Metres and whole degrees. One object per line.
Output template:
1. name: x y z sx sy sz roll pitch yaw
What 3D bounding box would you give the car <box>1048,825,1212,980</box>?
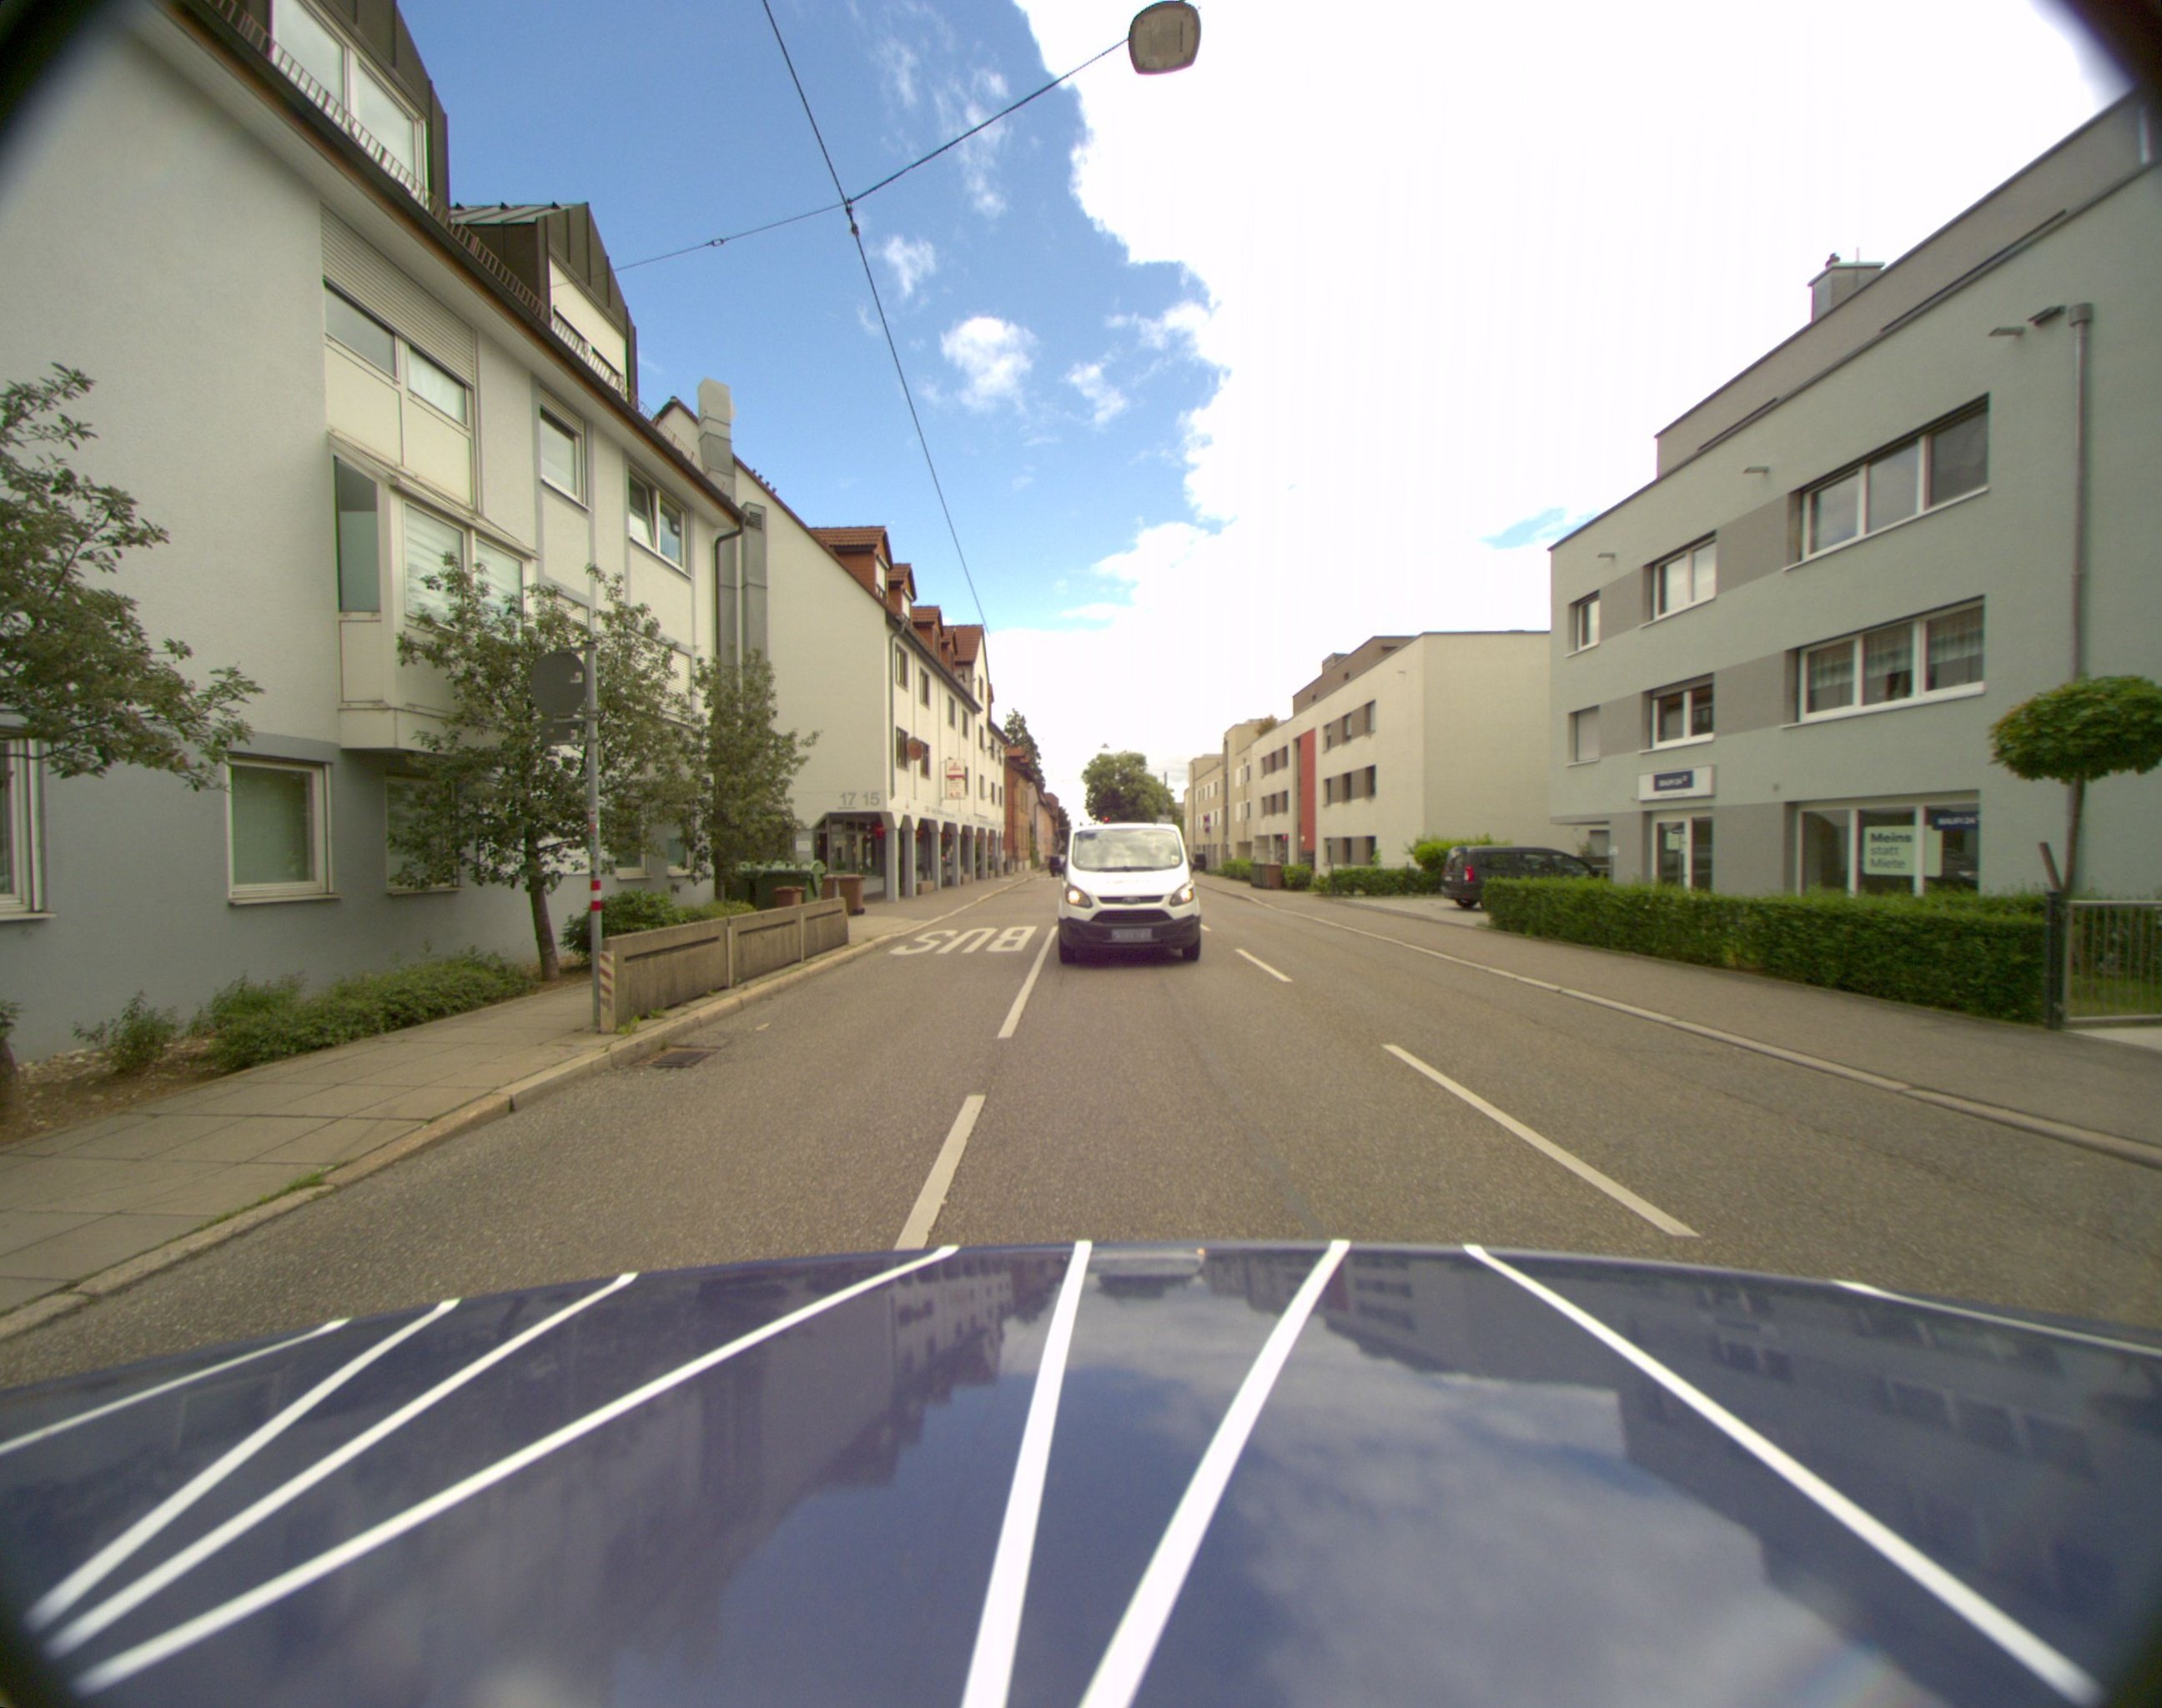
1. car: 0.631 0.598 12.165 2.062 1.946 5.060 -1 1 0

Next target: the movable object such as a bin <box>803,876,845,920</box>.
1. movable object such as a bin: -6.705 1.133 19.886 0.699 1.073 0.972 -1 1 5

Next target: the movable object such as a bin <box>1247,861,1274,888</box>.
1. movable object such as a bin: 7.593 0.868 32.163 0.897 1.083 0.792 -1 1 -3

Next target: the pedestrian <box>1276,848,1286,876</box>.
1. pedestrian: 11.766 0.445 44.646 0.519 1.633 0.641 0 1 21

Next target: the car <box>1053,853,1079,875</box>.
1. car: -1.068 0.663 54.574 1.755 1.485 3.985 -1 1 0

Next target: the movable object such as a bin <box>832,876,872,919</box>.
1. movable object such as a bin: -5.975 1.117 19.846 0.685 1.061 0.972 -1 1 5

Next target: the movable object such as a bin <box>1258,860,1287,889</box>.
1. movable object such as a bin: 7.686 0.821 30.485 0.951 1.144 0.749 -1 1 -3

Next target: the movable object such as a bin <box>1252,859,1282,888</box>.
1. movable object such as a bin: 7.663 0.793 31.321 0.959 1.144 0.840 -1 1 -3

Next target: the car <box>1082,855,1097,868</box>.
1. car: 0.952 0.910 89.811 1.755 1.485 3.985 -1 1 0

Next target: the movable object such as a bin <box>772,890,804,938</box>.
1. movable object such as a bin: -5.815 1.185 15.107 0.431 0.915 0.465 -1 1 1

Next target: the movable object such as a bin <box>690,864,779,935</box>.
1. movable object such as a bin: -7.420 0.950 16.340 1.270 1.426 1.307 -1 1 1

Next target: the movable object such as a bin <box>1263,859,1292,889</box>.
1. movable object such as a bin: 7.692 0.794 29.755 0.943 1.144 0.612 -1 1 -3

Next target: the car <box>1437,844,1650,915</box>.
1. car: 11.338 0.599 18.866 4.172 1.658 1.725 0 1 4

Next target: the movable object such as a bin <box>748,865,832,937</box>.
1. movable object such as a bin: -6.070 0.957 15.922 1.270 1.409 1.162 -1 1 1
